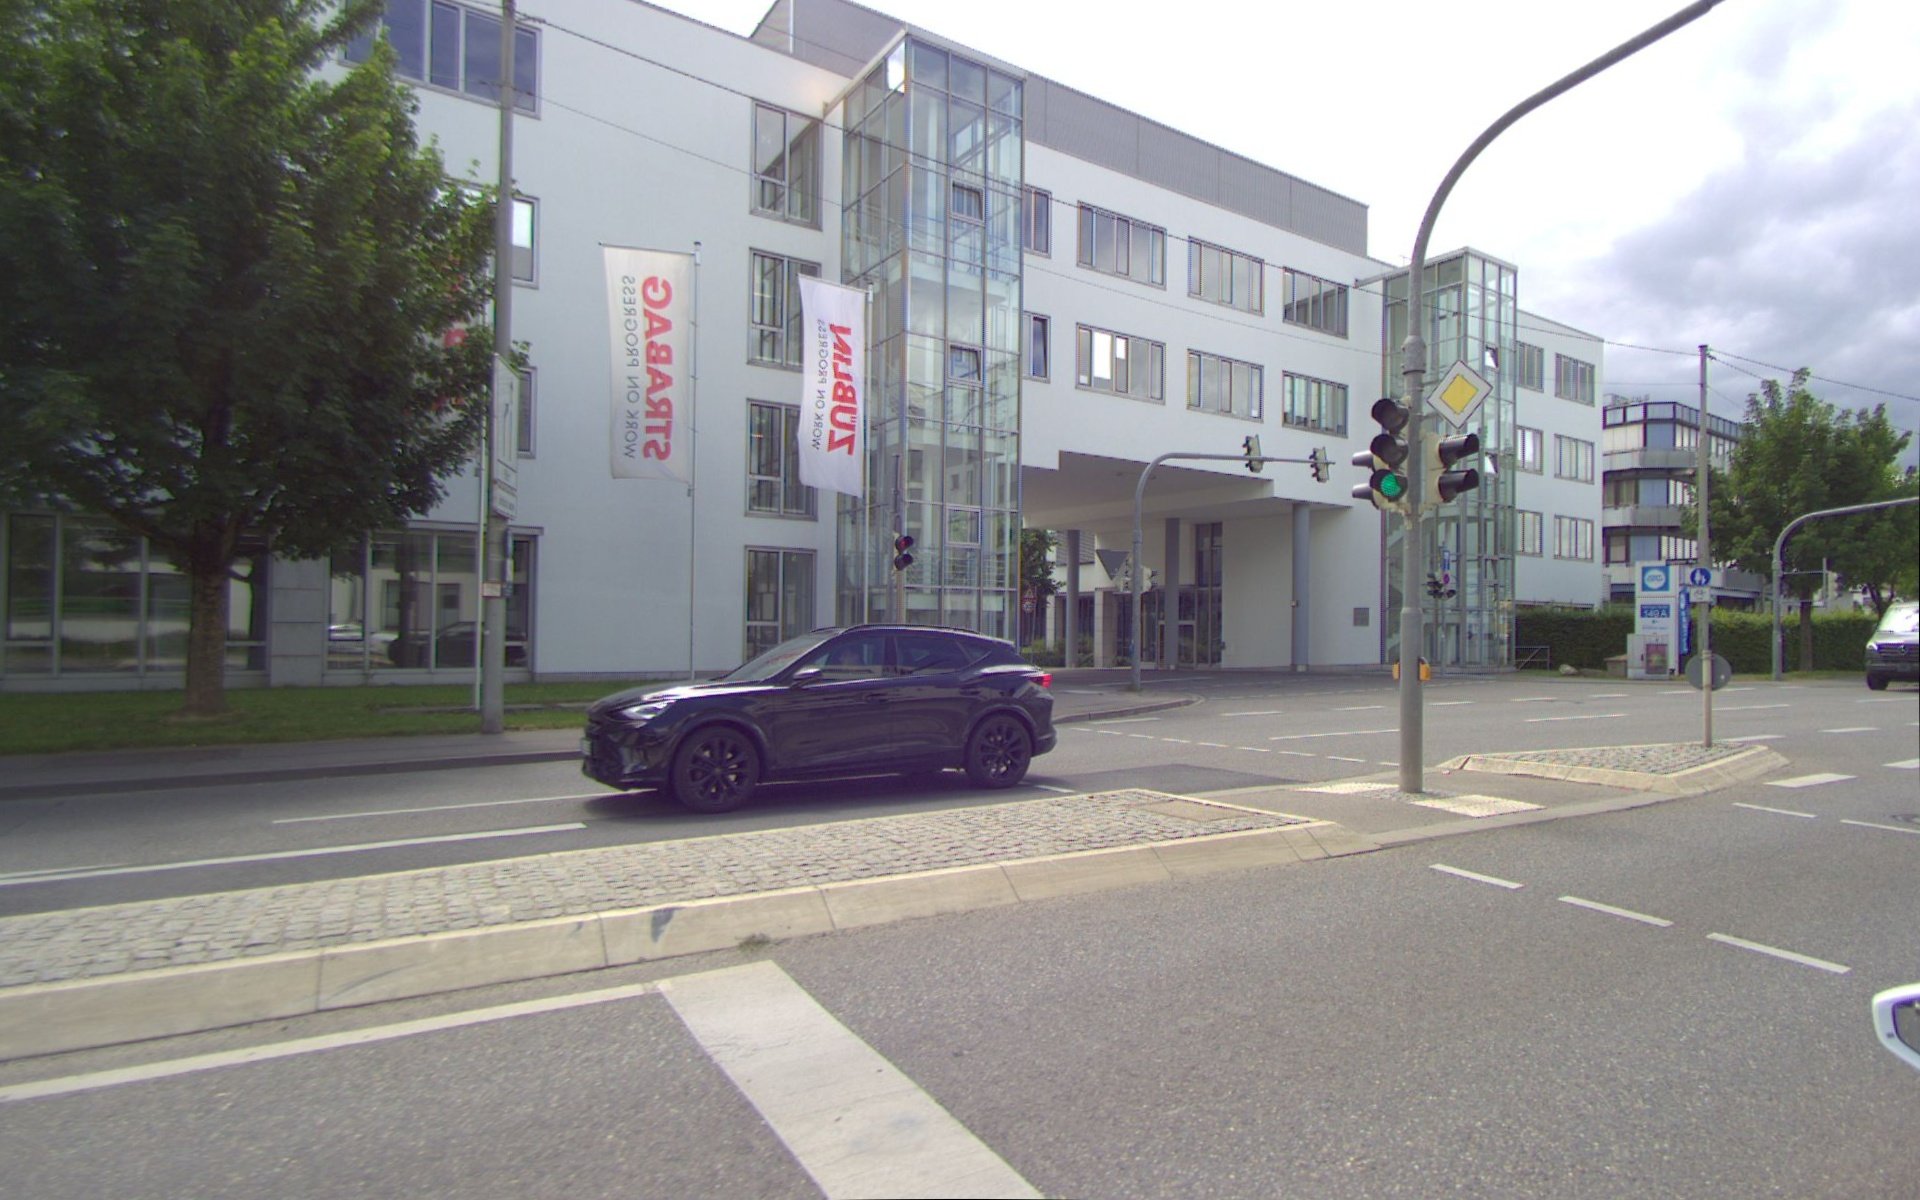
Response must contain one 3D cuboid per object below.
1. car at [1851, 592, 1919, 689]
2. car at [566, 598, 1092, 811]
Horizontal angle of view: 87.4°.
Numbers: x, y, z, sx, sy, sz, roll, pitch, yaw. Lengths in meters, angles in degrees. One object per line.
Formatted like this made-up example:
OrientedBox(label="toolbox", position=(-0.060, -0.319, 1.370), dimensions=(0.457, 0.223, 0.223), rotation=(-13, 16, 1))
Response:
OrientedBox(label="car", position=(27.338, 1.143, 27.910), dimensions=(6.003, 2.504, 2.132), rotation=(2, -3, -31))
OrientedBox(label="car", position=(-1.143, 0.891, 9.369), dimensions=(4.485, 1.572, 1.877), rotation=(3, -3, -29))
